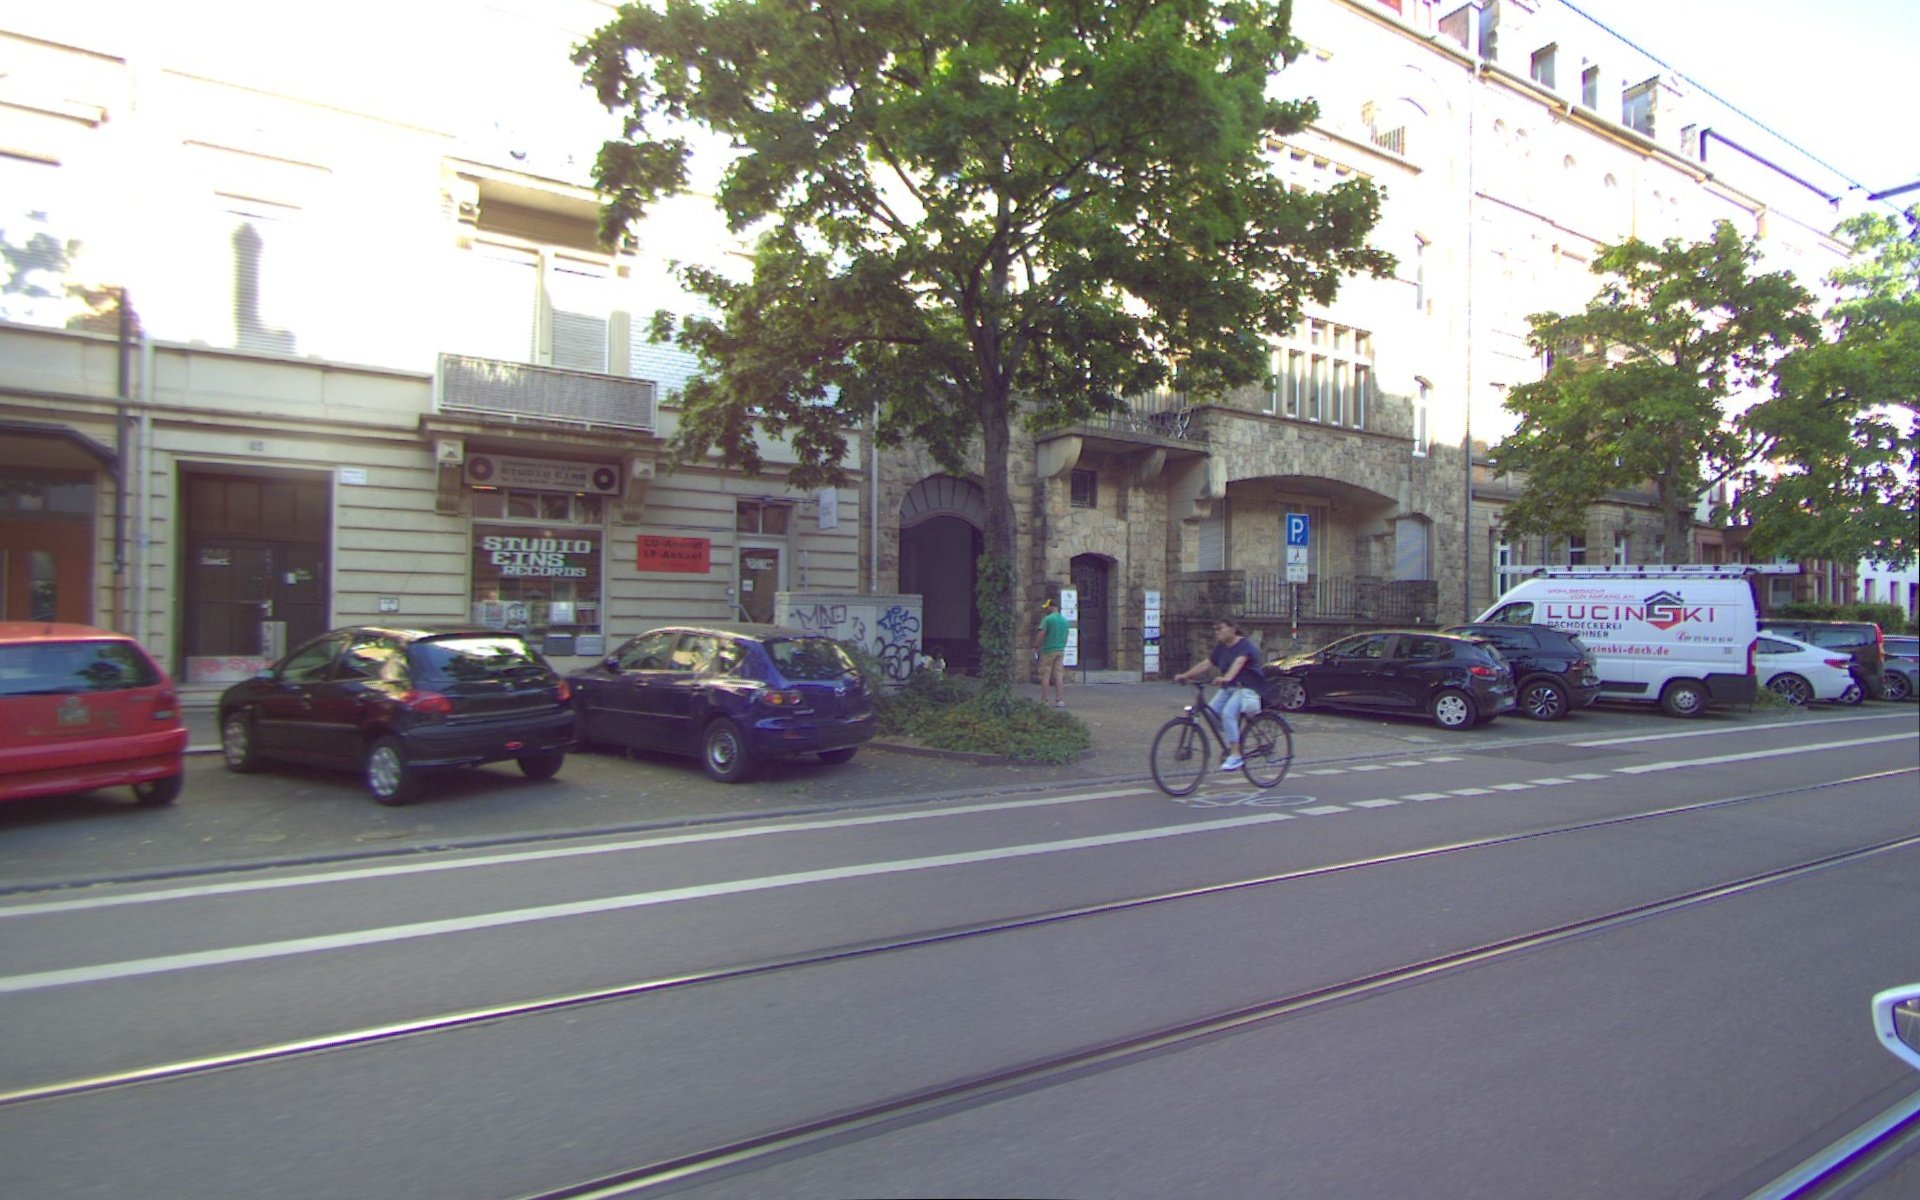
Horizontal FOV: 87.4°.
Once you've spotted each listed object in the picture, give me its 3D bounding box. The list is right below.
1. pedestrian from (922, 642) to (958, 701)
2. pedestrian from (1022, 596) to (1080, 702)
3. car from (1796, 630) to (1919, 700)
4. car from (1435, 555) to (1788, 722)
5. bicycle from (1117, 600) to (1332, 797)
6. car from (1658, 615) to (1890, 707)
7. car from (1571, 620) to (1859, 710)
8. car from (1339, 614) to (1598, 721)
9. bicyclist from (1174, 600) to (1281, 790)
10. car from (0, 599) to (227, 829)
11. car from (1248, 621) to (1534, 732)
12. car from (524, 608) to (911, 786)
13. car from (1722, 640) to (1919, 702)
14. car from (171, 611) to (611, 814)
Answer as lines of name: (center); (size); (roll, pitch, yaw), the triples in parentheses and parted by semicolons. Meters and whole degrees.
pedestrian: (-0.331, 1.163, 16.475); (0.454, 0.934, 0.352); (2, 0, -31)
pedestrian: (1.536, 0.811, 16.934); (0.753, 1.749, 0.575); (2, 0, -31)
car: (23.931, 1.656, 25.826); (3.678, 1.644, 1.781); (1, -1, 39)
car: (11.958, 0.629, 18.883); (5.293, 2.785, 1.802); (1, -1, 31)
bicycle: (2.528, 0.884, 9.503); (2.072, 1.701, 0.677); (2, -1, -30)
car: (18.342, 1.310, 22.895); (3.934, 1.841, 1.707); (1, -1, 35)
car: (15.922, 1.317, 21.539); (4.684, 1.639, 1.710); (1, -1, 28)
car: (9.059, 1.132, 18.011); (3.934, 1.639, 1.707); (1, -1, 35)
bicyclist: (2.520, 0.866, 9.487); (0.718, 1.704, 0.631); (2, 0, -30)
car: (-7.978, 0.760, 8.043); (3.927, 1.509, 1.865); (1, -1, 28)
car: (6.979, 1.153, 16.496); (3.945, 1.509, 1.795); (1, -1, 44)
car: (-2.660, 0.896, 10.763); (3.931, 1.509, 1.802); (1, -1, 33)
car: (20.988, 1.677, 24.483); (3.746, 1.282, 1.511); (1, -1, 35)
car: (-5.447, 0.910, 9.575); (3.927, 1.509, 1.804); (1, -1, 28)
